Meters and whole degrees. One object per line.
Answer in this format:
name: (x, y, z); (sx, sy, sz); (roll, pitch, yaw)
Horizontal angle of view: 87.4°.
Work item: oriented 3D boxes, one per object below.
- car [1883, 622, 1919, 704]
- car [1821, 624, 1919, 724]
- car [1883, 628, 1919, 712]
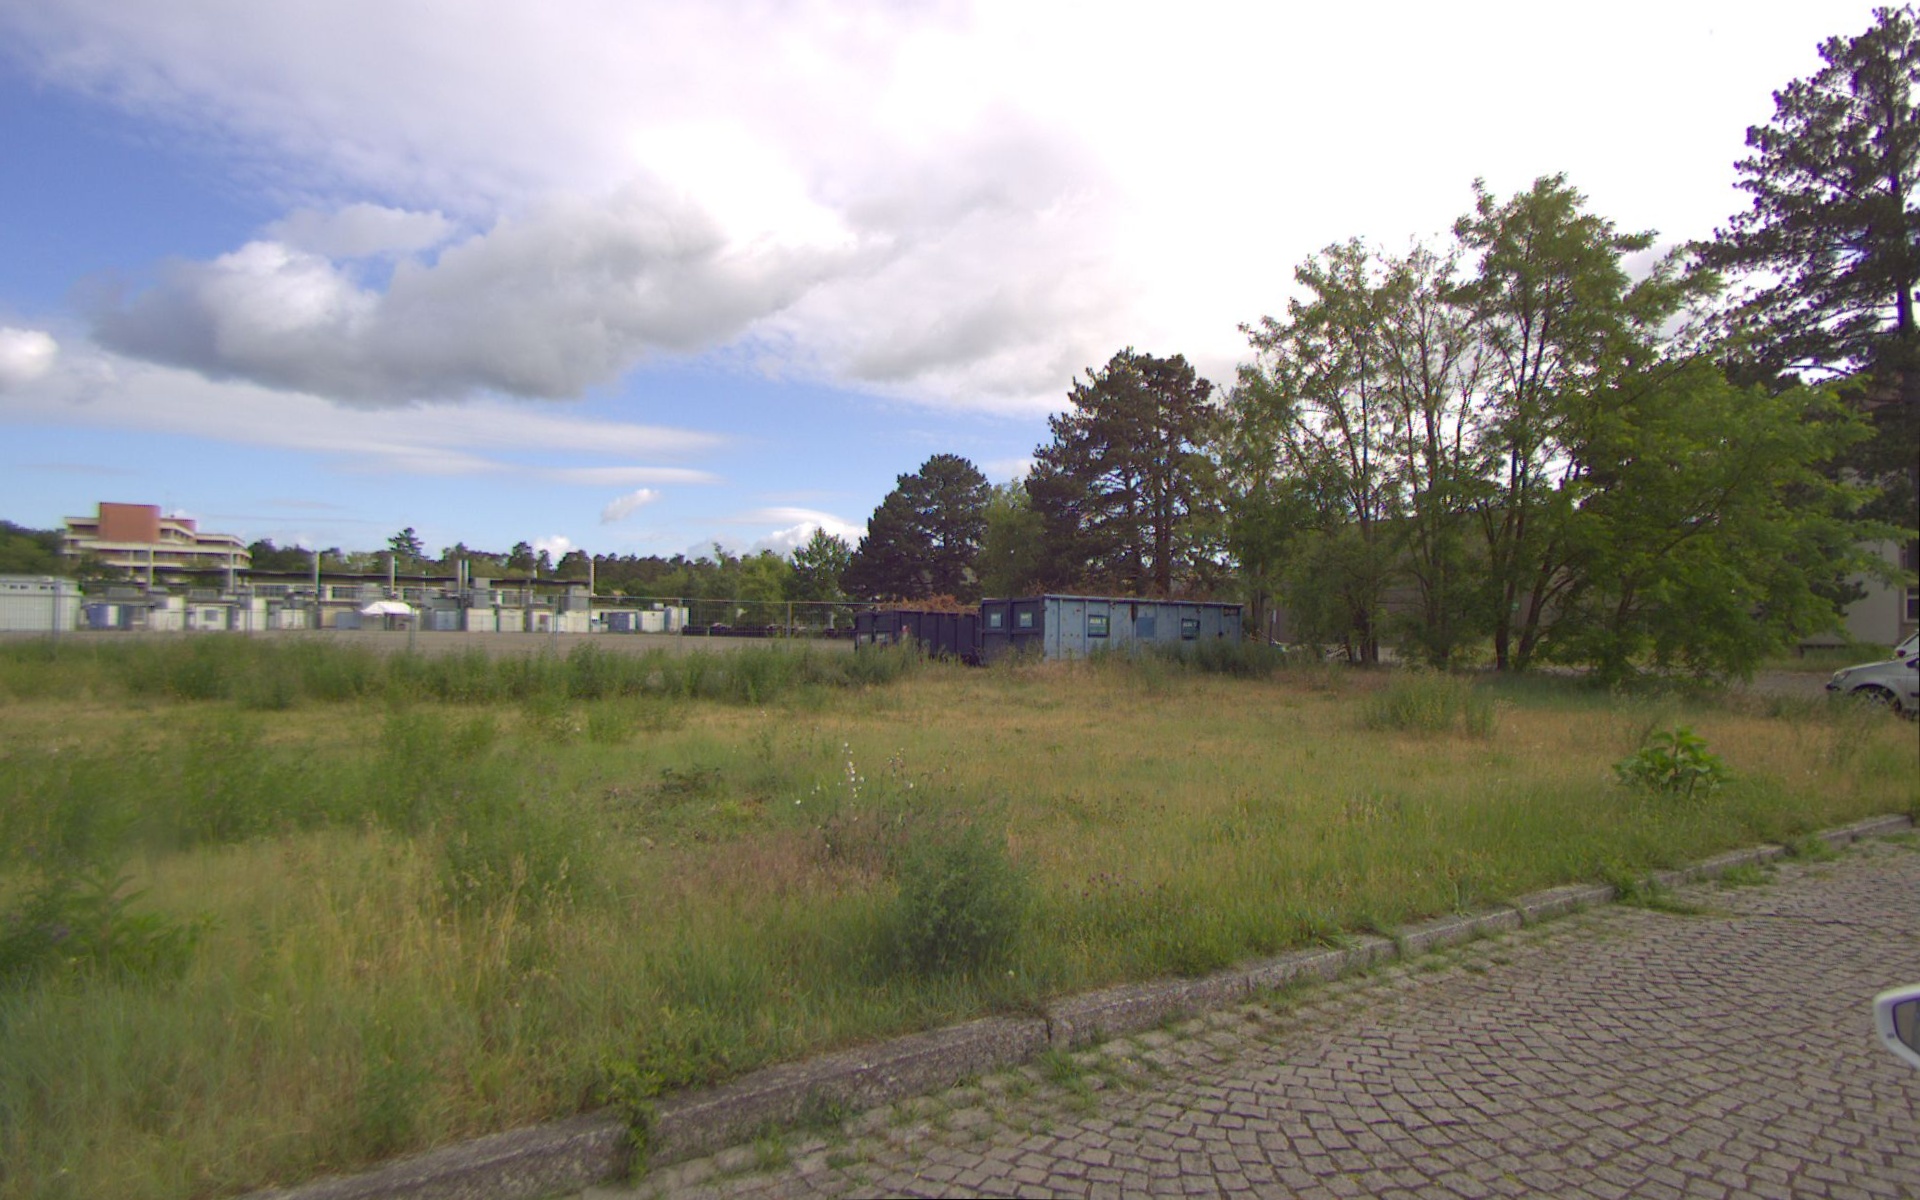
car: (20.283, 1.320, 18.943); (1.633, 1.584, 3.923); (1, 1, -33)
car: (16.049, 1.235, 15.653); (1.566, 1.499, 3.680); (1, 1, -33)
car: (18.282, 1.313, 16.919); (1.566, 1.448, 3.723); (1, 1, -33)
